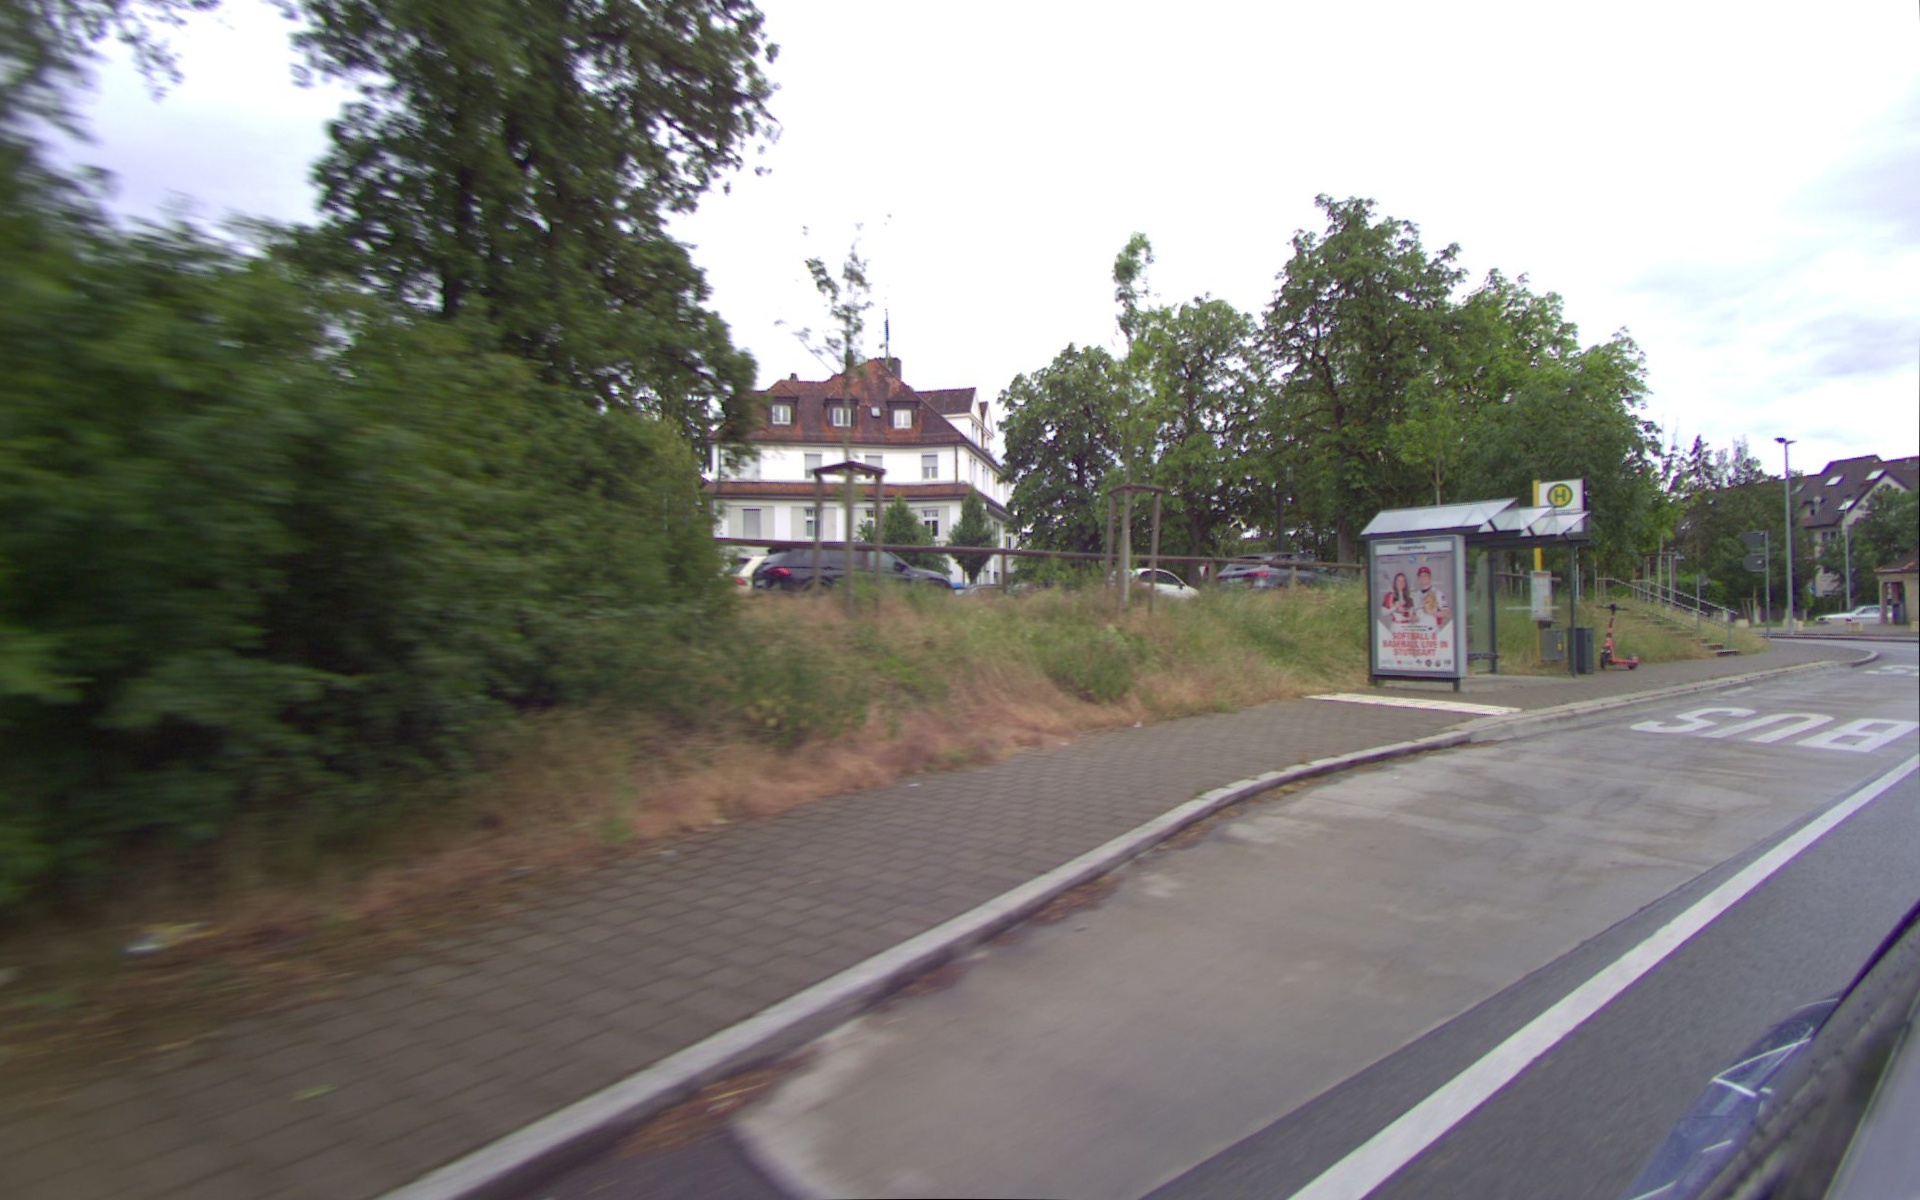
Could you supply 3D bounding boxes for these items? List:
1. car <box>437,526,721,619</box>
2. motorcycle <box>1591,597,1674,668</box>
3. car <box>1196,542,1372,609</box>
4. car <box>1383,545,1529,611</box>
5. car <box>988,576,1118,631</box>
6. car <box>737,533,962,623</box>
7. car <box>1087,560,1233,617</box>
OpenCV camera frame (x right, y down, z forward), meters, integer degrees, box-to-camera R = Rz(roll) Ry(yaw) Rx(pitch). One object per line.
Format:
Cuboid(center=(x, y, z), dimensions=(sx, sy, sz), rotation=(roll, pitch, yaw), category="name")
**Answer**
Cuboid(center=(-7.085, -0.494, 18.991), dimensions=(4.689, 1.499, 1.892), rotation=(-1, -2, -33), category="car")
Cuboid(center=(12.870, 0.609, 19.371), dimensions=(1.506, 1.305, 0.592), rotation=(0, -1, -24), category="motorcycle")
Cuboid(center=(8.261, -0.612, 25.750), dimensions=(4.201, 1.499, 2.000), rotation=(-1, -2, -33), category="car")
Cuboid(center=(14.306, -0.581, 29.165), dimensions=(3.923, 1.684, 1.999), rotation=(0, -4, -34), category="car")
Cuboid(center=(3.143, 0.124, 34.100), dimensions=(3.923, 1.684, 1.999), rotation=(0, -4, -34), category="car")
Cuboid(center=(-2.354, -0.414, 21.862), dimensions=(4.386, 1.684, 1.999), rotation=(0, -4, -34), category="car")
Cuboid(center=(5.927, -0.351, 29.942), dimensions=(3.989, 1.499, 1.892), rotation=(-1, -2, -33), category="car")
